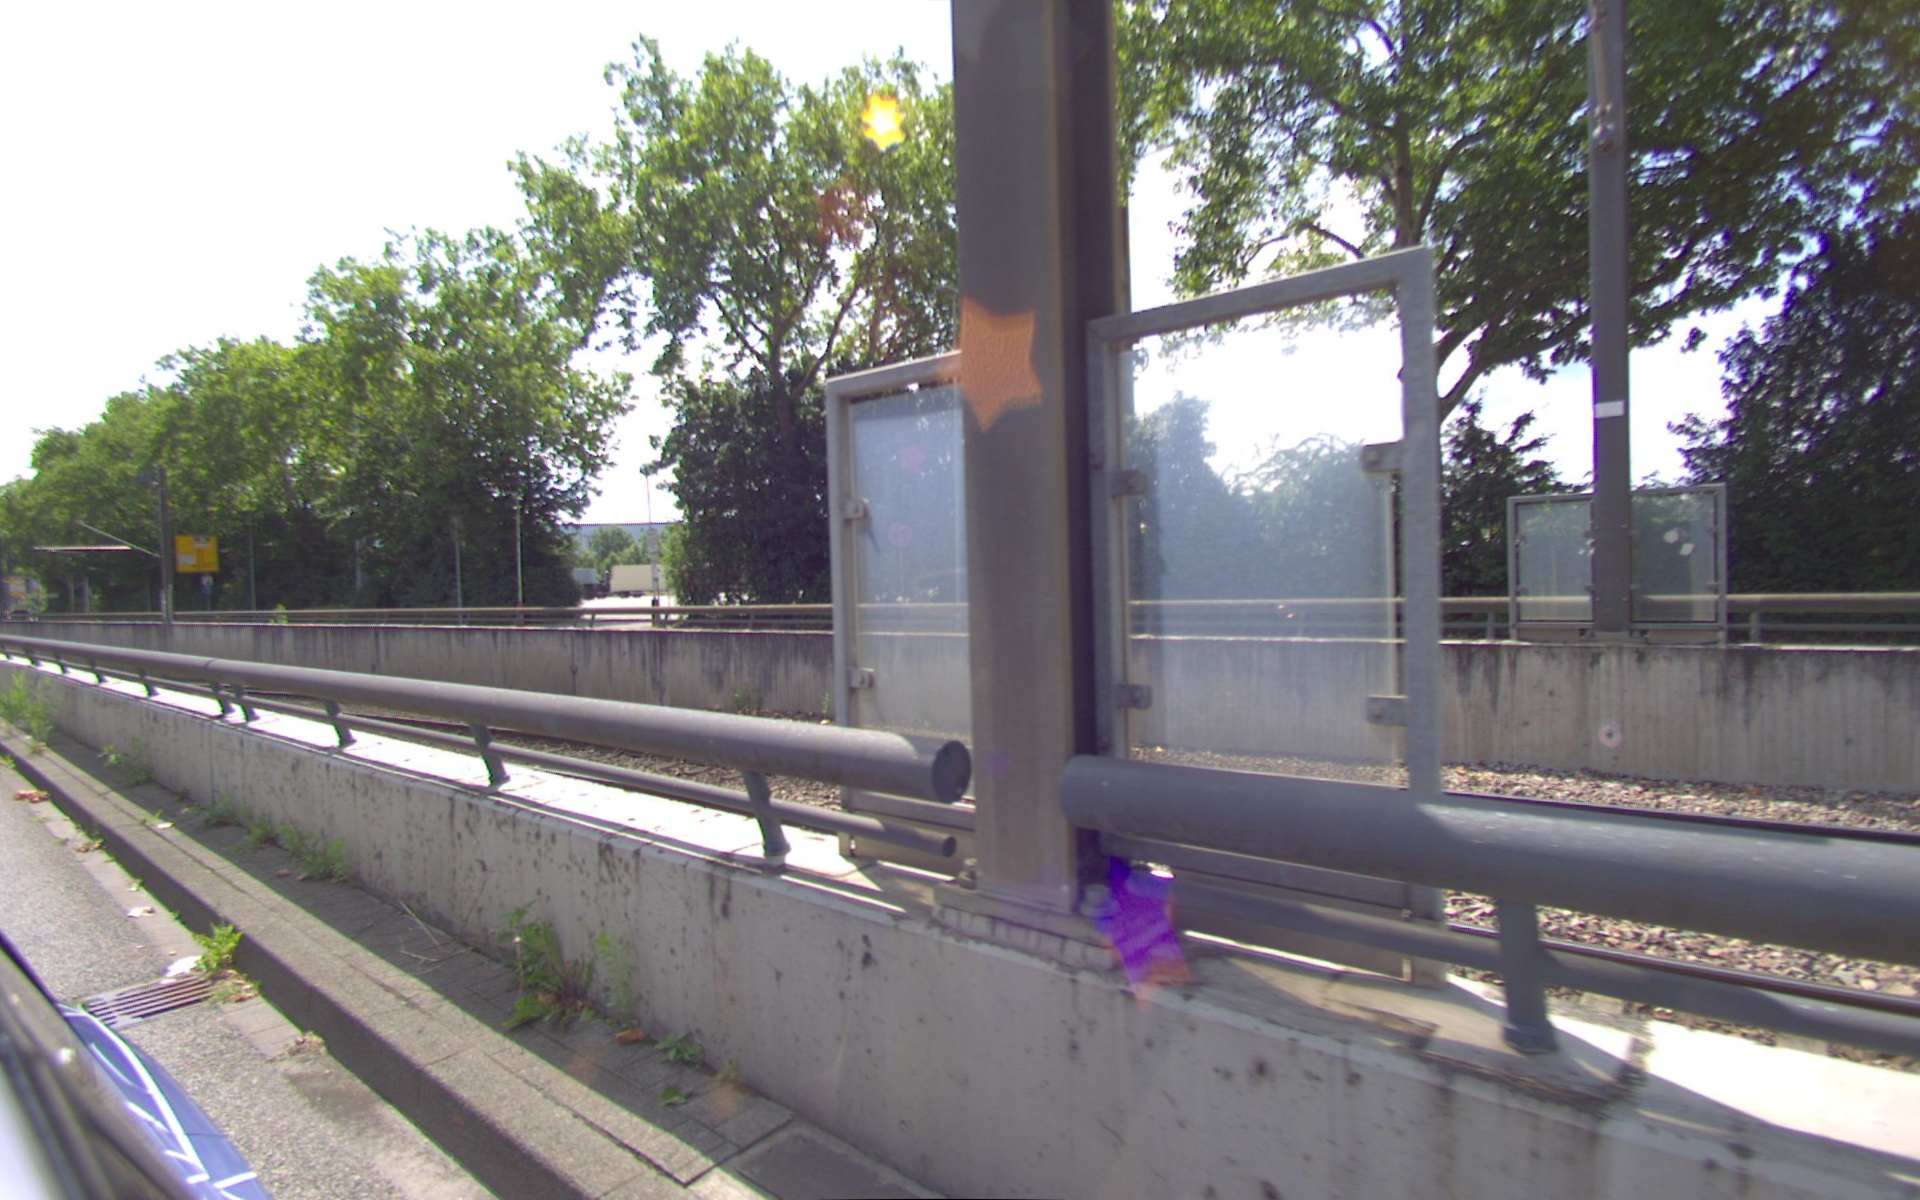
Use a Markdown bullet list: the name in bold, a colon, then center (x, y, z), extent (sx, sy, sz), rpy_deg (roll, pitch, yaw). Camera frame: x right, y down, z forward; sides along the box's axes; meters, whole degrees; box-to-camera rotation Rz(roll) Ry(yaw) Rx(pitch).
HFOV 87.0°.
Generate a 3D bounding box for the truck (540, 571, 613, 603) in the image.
- **truck**: center (-45.731, -1.605, 120.976), extent (7.607, 3.689, 3.064), rpy_deg (-1, 1, -6)

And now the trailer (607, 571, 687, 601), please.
- **trailer**: center (-37.570, -1.694, 121.762), extent (8.758, 3.524, 2.871), rpy_deg (-1, 1, -5)

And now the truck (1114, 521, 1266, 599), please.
- **truck**: center (13.643, -2.205, 58.755), extent (2.748, 4.104, 12.652), rpy_deg (0, 1, 42)
